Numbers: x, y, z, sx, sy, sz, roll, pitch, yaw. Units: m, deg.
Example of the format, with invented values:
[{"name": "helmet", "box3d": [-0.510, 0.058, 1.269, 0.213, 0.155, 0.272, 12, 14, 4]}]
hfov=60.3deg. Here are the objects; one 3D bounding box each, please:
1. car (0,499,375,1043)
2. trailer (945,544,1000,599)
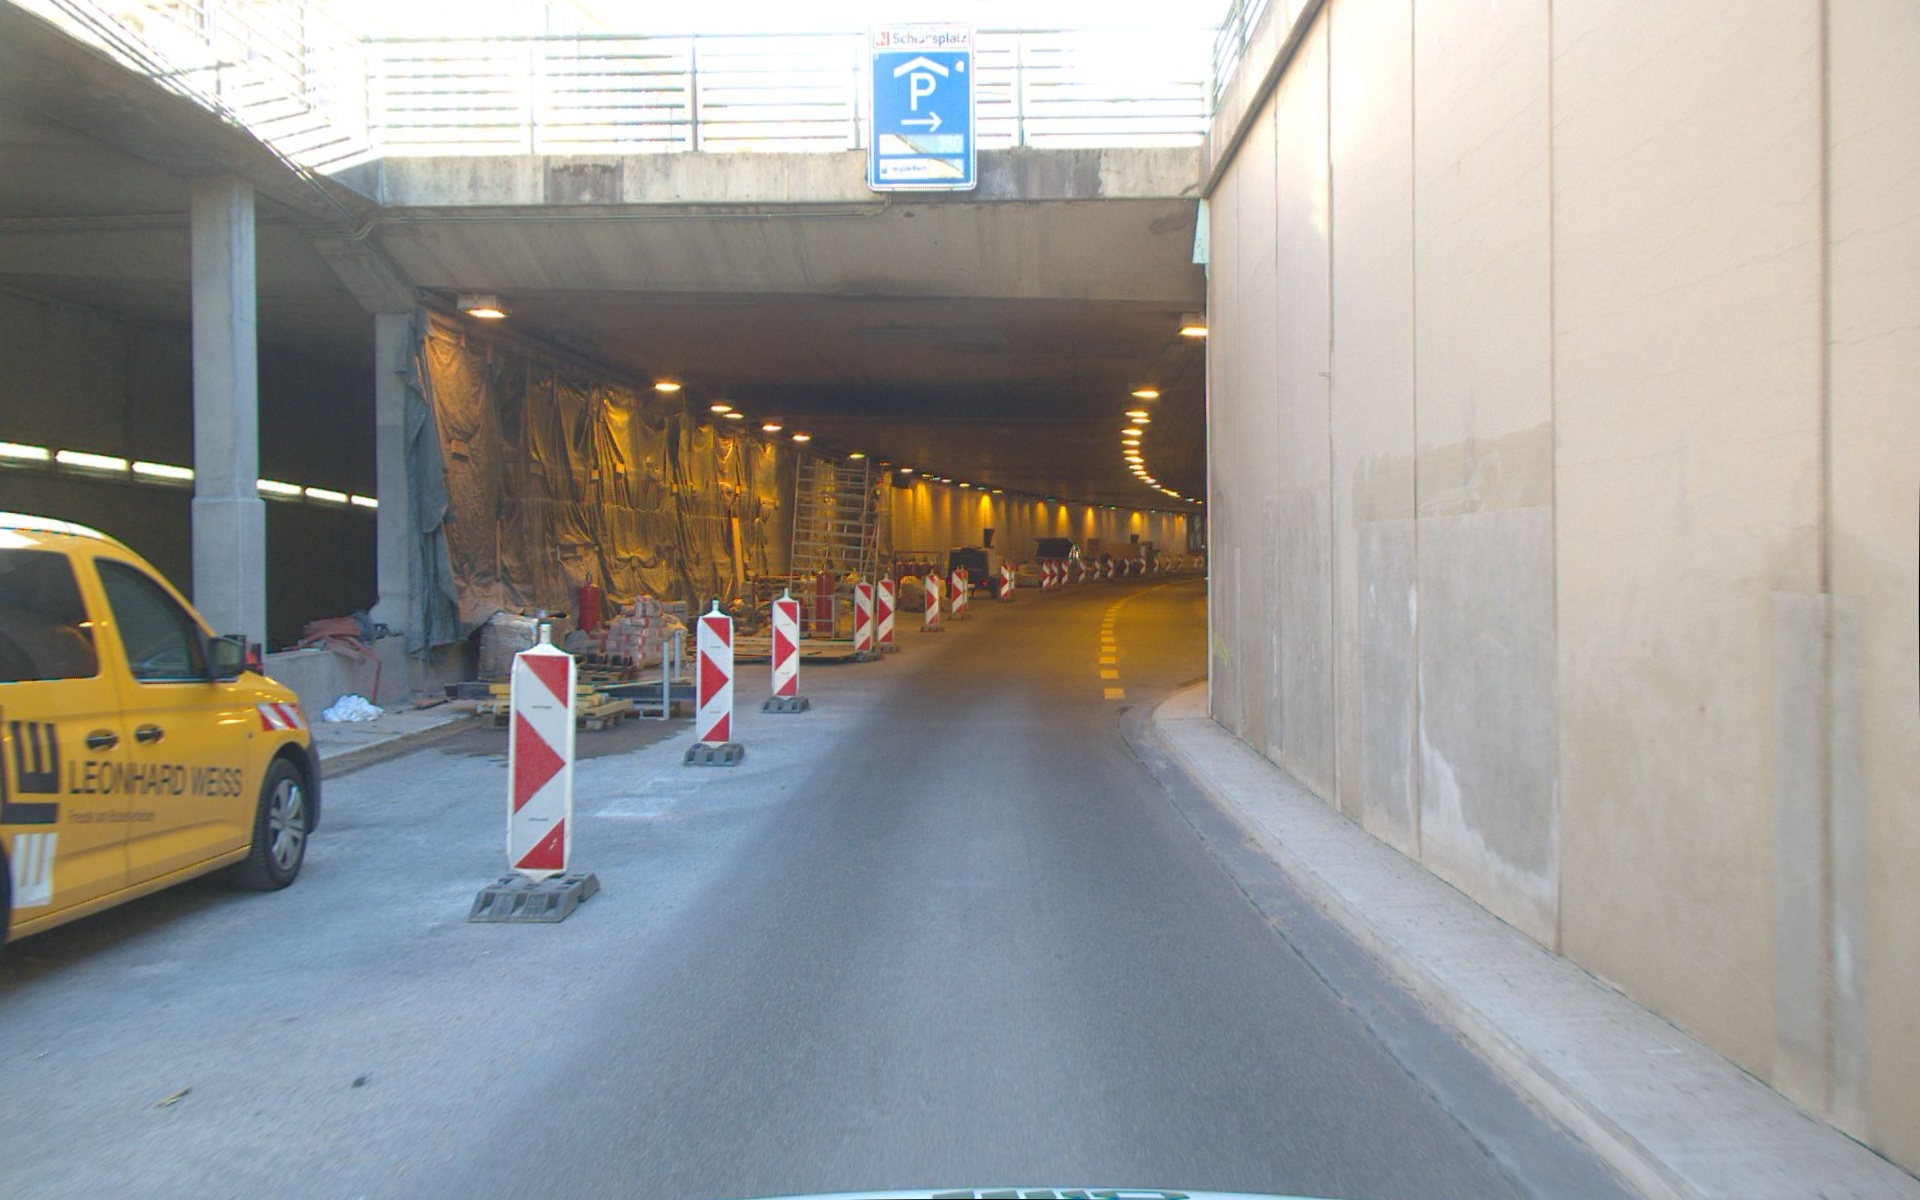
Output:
[{"name": "car", "box3d": [-4.079, 0.543, 6.707, 1.810, 1.806, 4.435, 0, 1, 0]}, {"name": "trailer", "box3d": [0.446, -1.014, 57.378, 1.547, 1.829, 2.942, 1, 1, 7]}]
